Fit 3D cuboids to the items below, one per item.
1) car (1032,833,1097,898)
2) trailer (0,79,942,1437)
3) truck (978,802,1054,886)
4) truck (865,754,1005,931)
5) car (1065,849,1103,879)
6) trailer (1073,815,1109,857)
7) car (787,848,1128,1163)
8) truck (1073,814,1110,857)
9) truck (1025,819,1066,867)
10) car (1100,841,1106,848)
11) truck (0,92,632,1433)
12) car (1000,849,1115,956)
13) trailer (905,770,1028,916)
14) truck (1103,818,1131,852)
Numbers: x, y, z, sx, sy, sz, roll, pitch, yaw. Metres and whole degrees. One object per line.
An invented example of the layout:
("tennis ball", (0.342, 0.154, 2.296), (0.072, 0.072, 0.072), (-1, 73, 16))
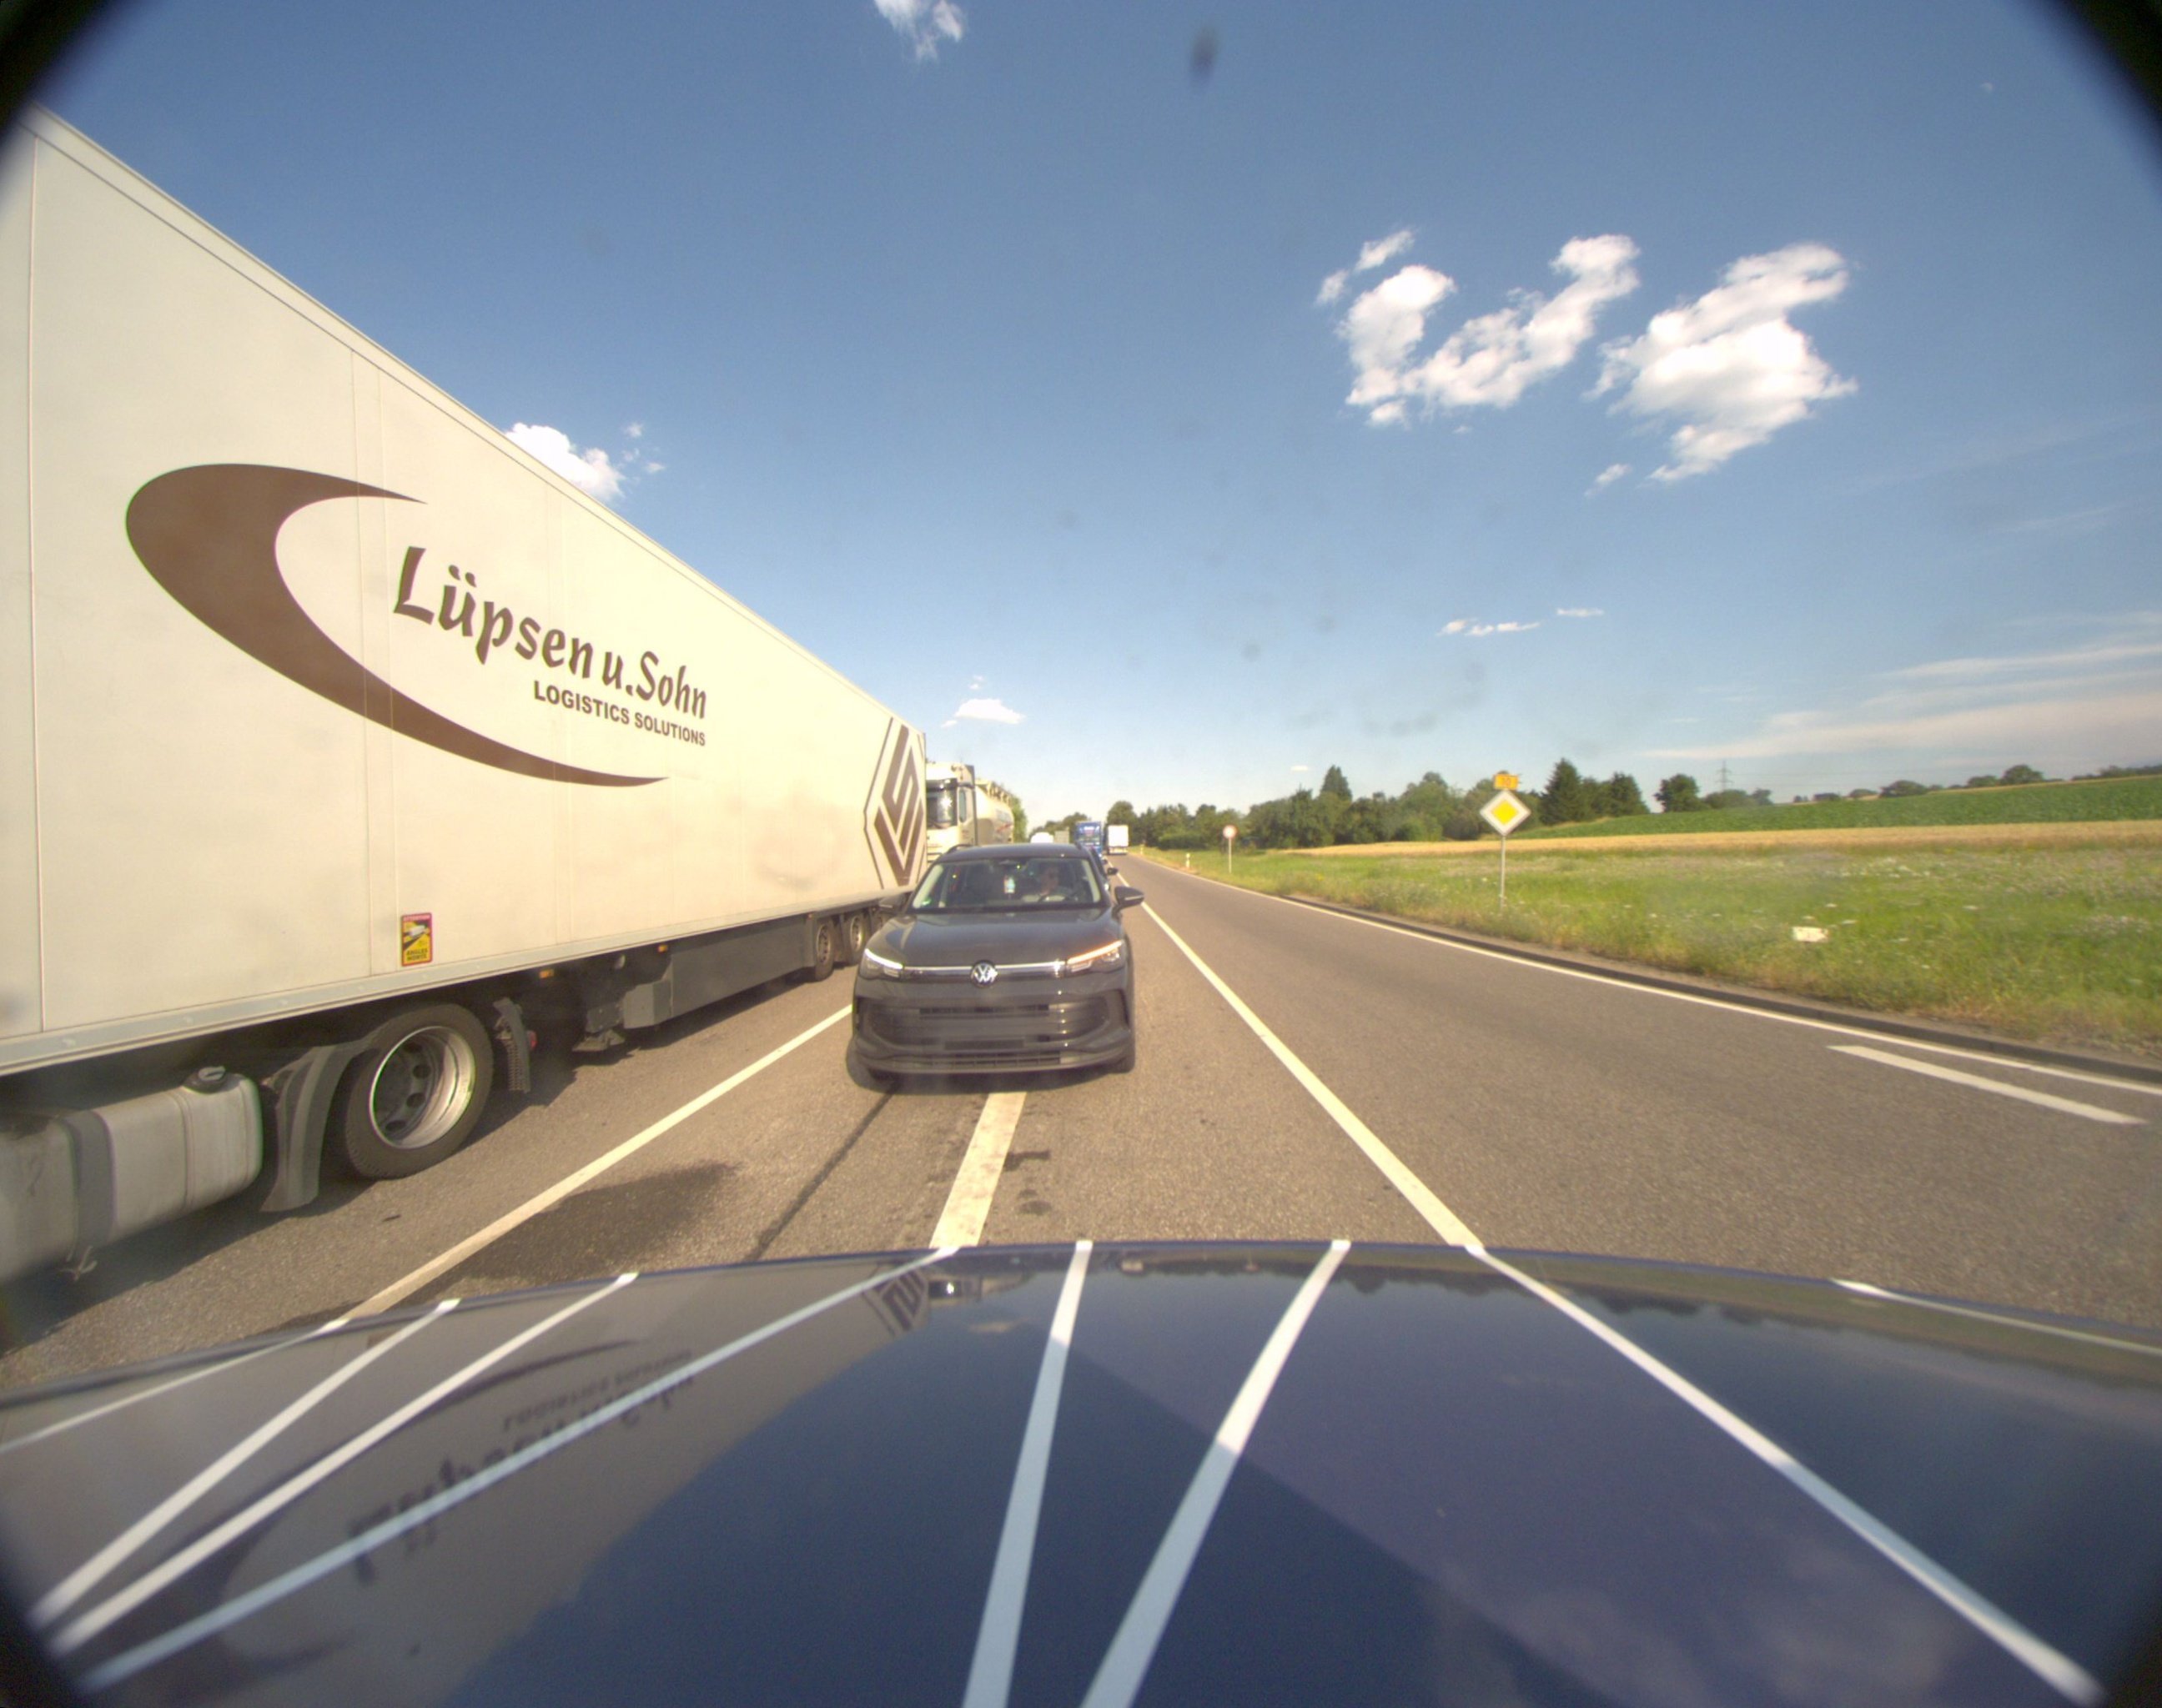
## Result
("car", (-0.481, 0.339, 25.981), (1.907, 1.936, 4.372), (-3, 1, 1))
("trailer", (-4.344, -0.326, 8.379), (2.538, 4.043, 14.335), (-2, 0, 1))
("truck", (-3.209, -0.548, 41.050), (2.528, 3.752, 12.897), (-2, 1, 2))
("truck", (-3.473, -0.279, 19.432), (2.261, 3.783, 5.685), (-2, 1, 1))
("car", (0.184, 0.507, 42.204), (1.998, 1.477, 3.999), (-2, 1, 1))
("trailer", (1.099, -1.865, 82.195), (3.416, 3.982, 13.747), (-2, 1, 1))
("car", (-0.536, 0.815, 6.329), (1.787, 1.620, 4.469), (-2, 1, 4))
("truck", (1.052, -1.764, 75.378), (3.373, 3.982, 5.601), (-2, 1, 1))
("truck", (-2.999, -1.010, 67.134), (2.528, 3.752, 12.897), (-2, 1, 2))
("car", (5.404, -2.376, 189.507), (1.427, 1.563, 3.504), (-2, 1, 1))
("truck", (-4.510, -0.264, 1.839), (2.538, 4.020, 6.661), (-2, 1, 2))
("car", (-0.297, 0.758, 14.391), (1.775, 1.604, 4.547), (-2, 1, 2))
("trailer", (-3.387, -0.347, 24.989), (2.264, 3.756, 9.524), (-3, 1, 1))
("truck", (4.949, -2.608, 105.827), (3.449, 4.471, 9.486), (-2, 1, 1))
